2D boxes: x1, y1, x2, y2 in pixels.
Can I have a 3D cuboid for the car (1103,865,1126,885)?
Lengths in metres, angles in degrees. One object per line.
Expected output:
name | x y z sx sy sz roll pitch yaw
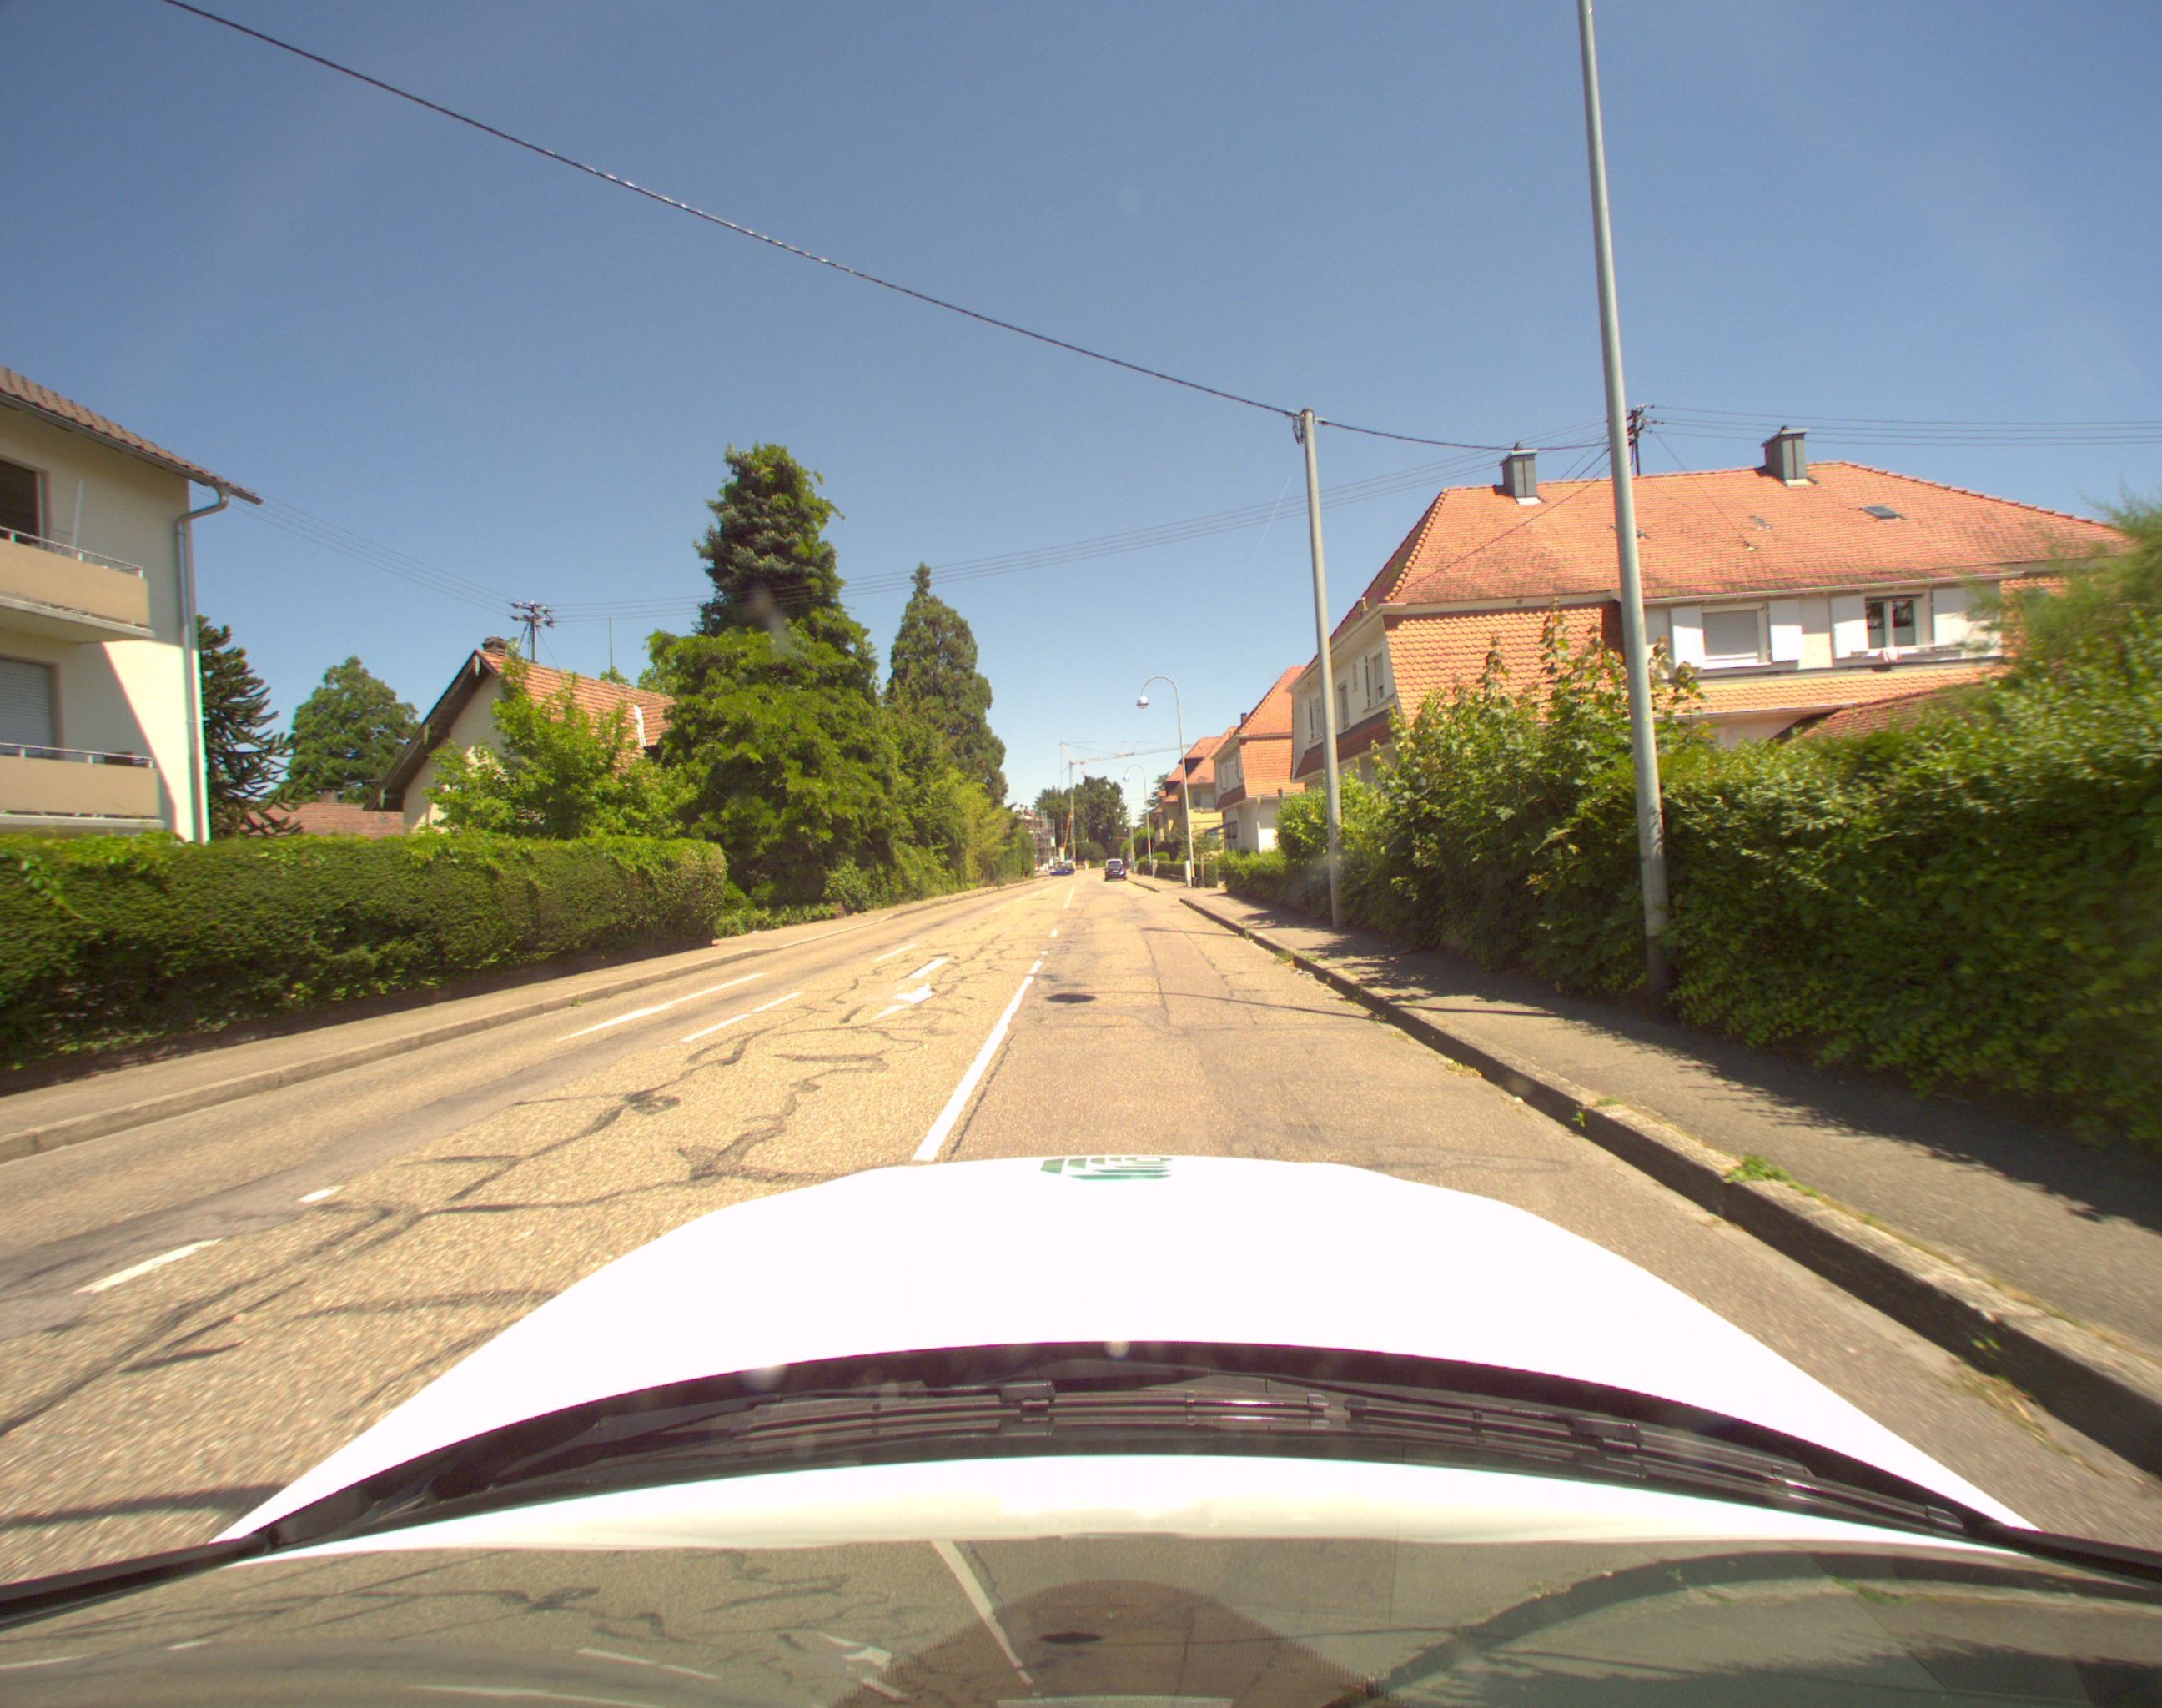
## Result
car | 2.687 1.689 66.231 1.687 1.419 4.551 -4 -1 1

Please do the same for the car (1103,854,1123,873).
car | 3.356 0.998 86.280 1.986 1.901 4.823 -2 -1 1

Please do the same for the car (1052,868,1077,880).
car | -2.633 3.185 131.629 3.976 1.468 1.963 -5 0 -2
